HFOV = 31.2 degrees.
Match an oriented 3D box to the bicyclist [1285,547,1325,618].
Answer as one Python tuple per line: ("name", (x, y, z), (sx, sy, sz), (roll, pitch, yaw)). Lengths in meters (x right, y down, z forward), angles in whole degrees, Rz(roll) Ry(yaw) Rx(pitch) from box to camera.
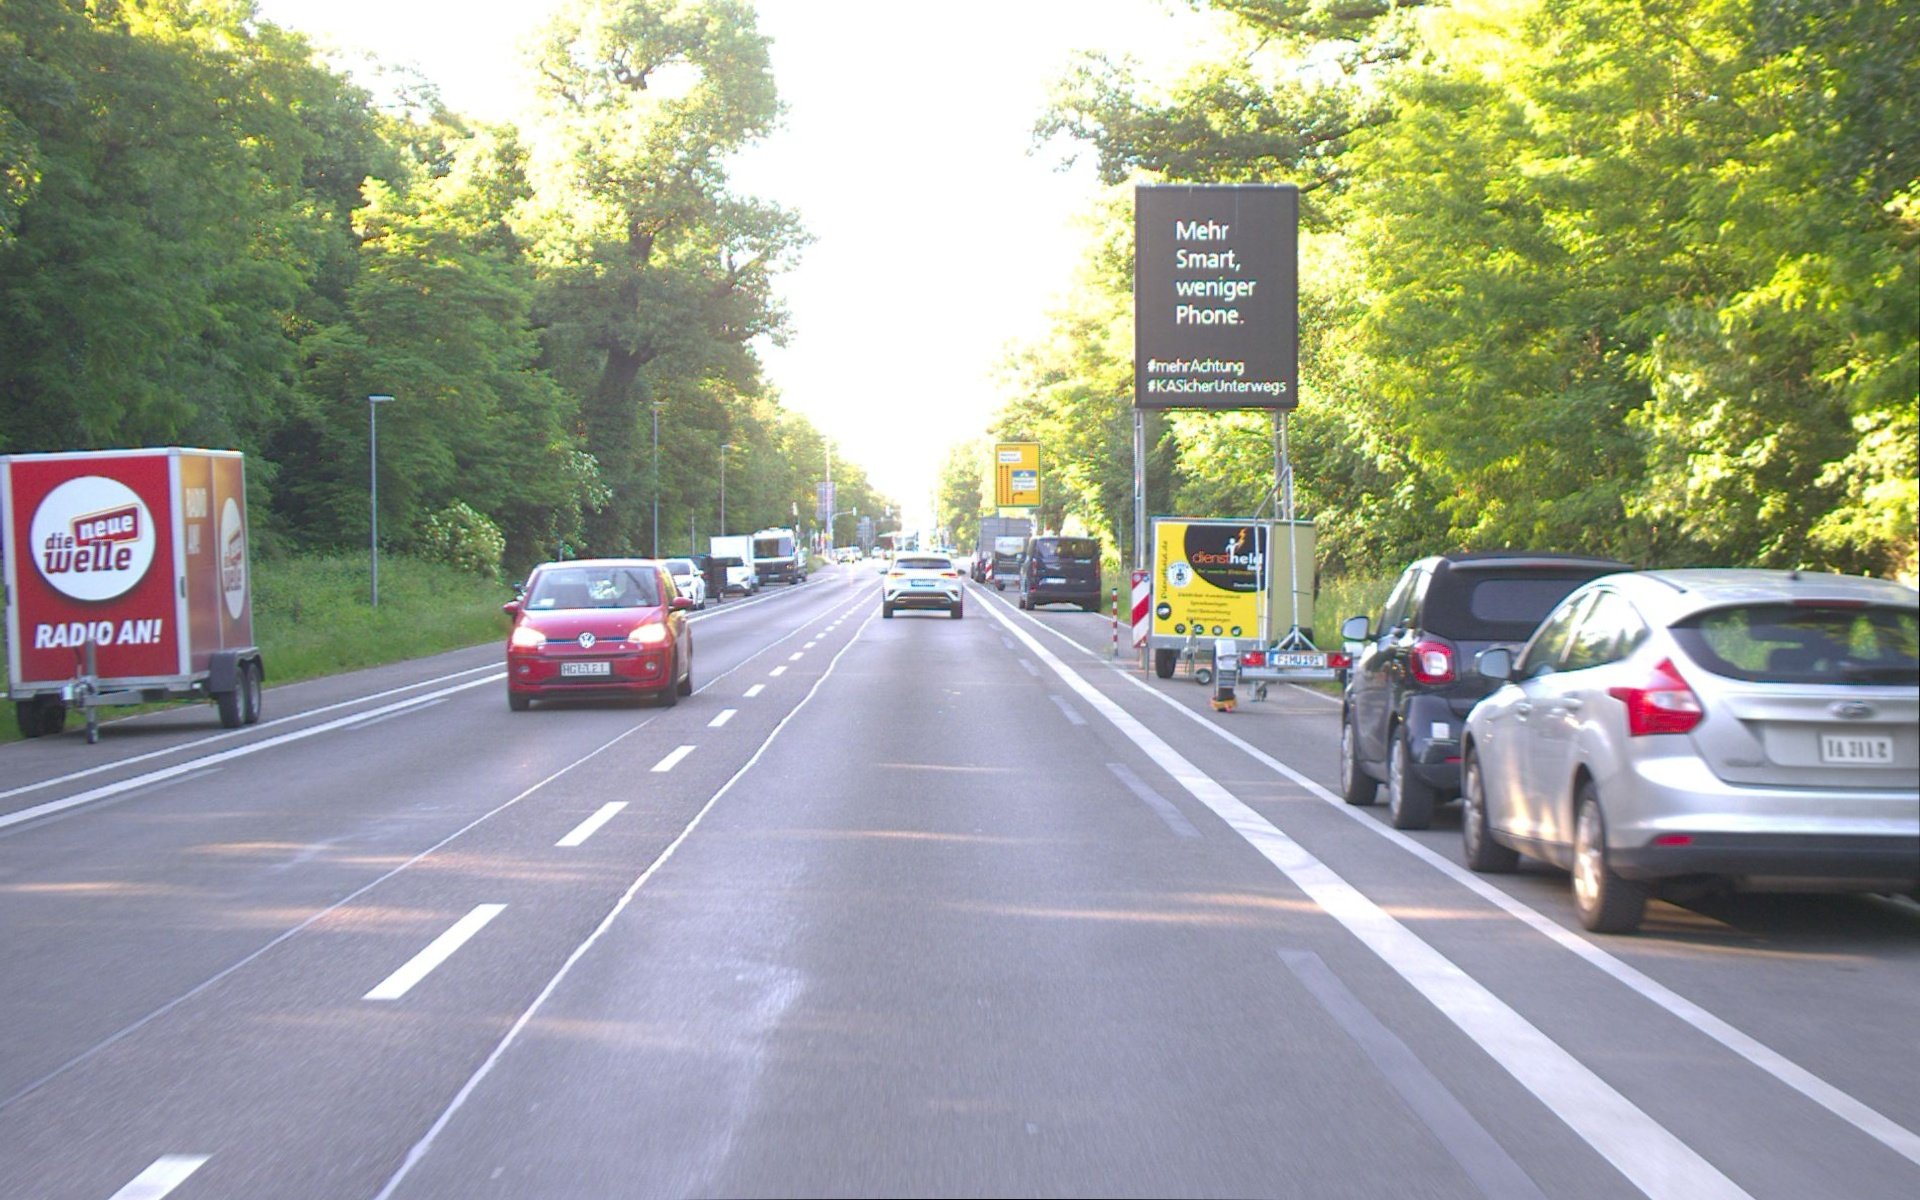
("bicyclist", (6.482, -0.331, 64.603), (0.610, 1.320, 1.175), (0, 1, 0))

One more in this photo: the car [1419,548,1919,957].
("car", (3.261, 0.548, 15.053), (1.734, 1.482, 4.401), (2, 1, -2))

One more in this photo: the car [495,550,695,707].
("car", (-3.557, 0.240, 34.004), (1.604, 1.416, 3.519), (-2, 1, -1))

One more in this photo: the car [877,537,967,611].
("car", (-0.875, -0.616, 78.775), (1.993, 1.634, 4.000), (0, 1, -1))

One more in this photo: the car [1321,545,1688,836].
("car", (3.098, 0.467, 20.062), (1.586, 1.525, 3.011), (2, 1, -1))

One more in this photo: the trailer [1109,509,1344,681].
("trailer", (3.330, -0.104, 42.362), (1.964, 2.016, 3.840), (0, 1, 19))

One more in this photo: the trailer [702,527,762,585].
("trailer", (-9.157, -1.767, 138.227), (2.075, 2.285, 3.486), (-1, 1, 1))

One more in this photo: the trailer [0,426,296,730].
("trailer", (-7.520, -0.222, 31.722), (1.993, 2.612, 4.086), (0, 1, 0))

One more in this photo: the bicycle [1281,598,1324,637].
("bicycle", (6.442, 0.331, 64.683), (0.591, 0.690, 1.996), (0, 1, 0))

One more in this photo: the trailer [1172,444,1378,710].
("trailer", (3.112, -0.241, 34.609), (1.613, 2.500, 4.000), (1, 1, -1))

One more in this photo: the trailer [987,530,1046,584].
("trailer", (2.234, -1.702, 136.530), (1.616, 2.105, 2.394), (1, 1, 20))

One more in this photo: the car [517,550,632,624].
("car", (-7.908, -0.288, 70.845), (1.855, 1.459, 4.784), (0, 1, 0))

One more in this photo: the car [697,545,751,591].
("car", (-8.564, -1.175, 124.933), (1.814, 1.566, 4.207), (-2, 1, -2))

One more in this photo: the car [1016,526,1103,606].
("car", (2.655, -0.932, 92.407), (2.113, 2.007, 5.040), (2, 1, 0))

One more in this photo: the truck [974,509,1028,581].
("truck", (1.949, -2.649, 166.525), (2.505, 3.355, 7.107), (1, 1, 0))

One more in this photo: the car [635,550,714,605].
("car", (-8.064, -0.654, 97.490), (1.867, 1.445, 4.071), (-3, 1, 0))

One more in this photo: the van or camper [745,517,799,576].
("van or camper", (-9.253, -2.644, 169.538), (2.302, 2.758, 5.557), (-3, 1, 0))
